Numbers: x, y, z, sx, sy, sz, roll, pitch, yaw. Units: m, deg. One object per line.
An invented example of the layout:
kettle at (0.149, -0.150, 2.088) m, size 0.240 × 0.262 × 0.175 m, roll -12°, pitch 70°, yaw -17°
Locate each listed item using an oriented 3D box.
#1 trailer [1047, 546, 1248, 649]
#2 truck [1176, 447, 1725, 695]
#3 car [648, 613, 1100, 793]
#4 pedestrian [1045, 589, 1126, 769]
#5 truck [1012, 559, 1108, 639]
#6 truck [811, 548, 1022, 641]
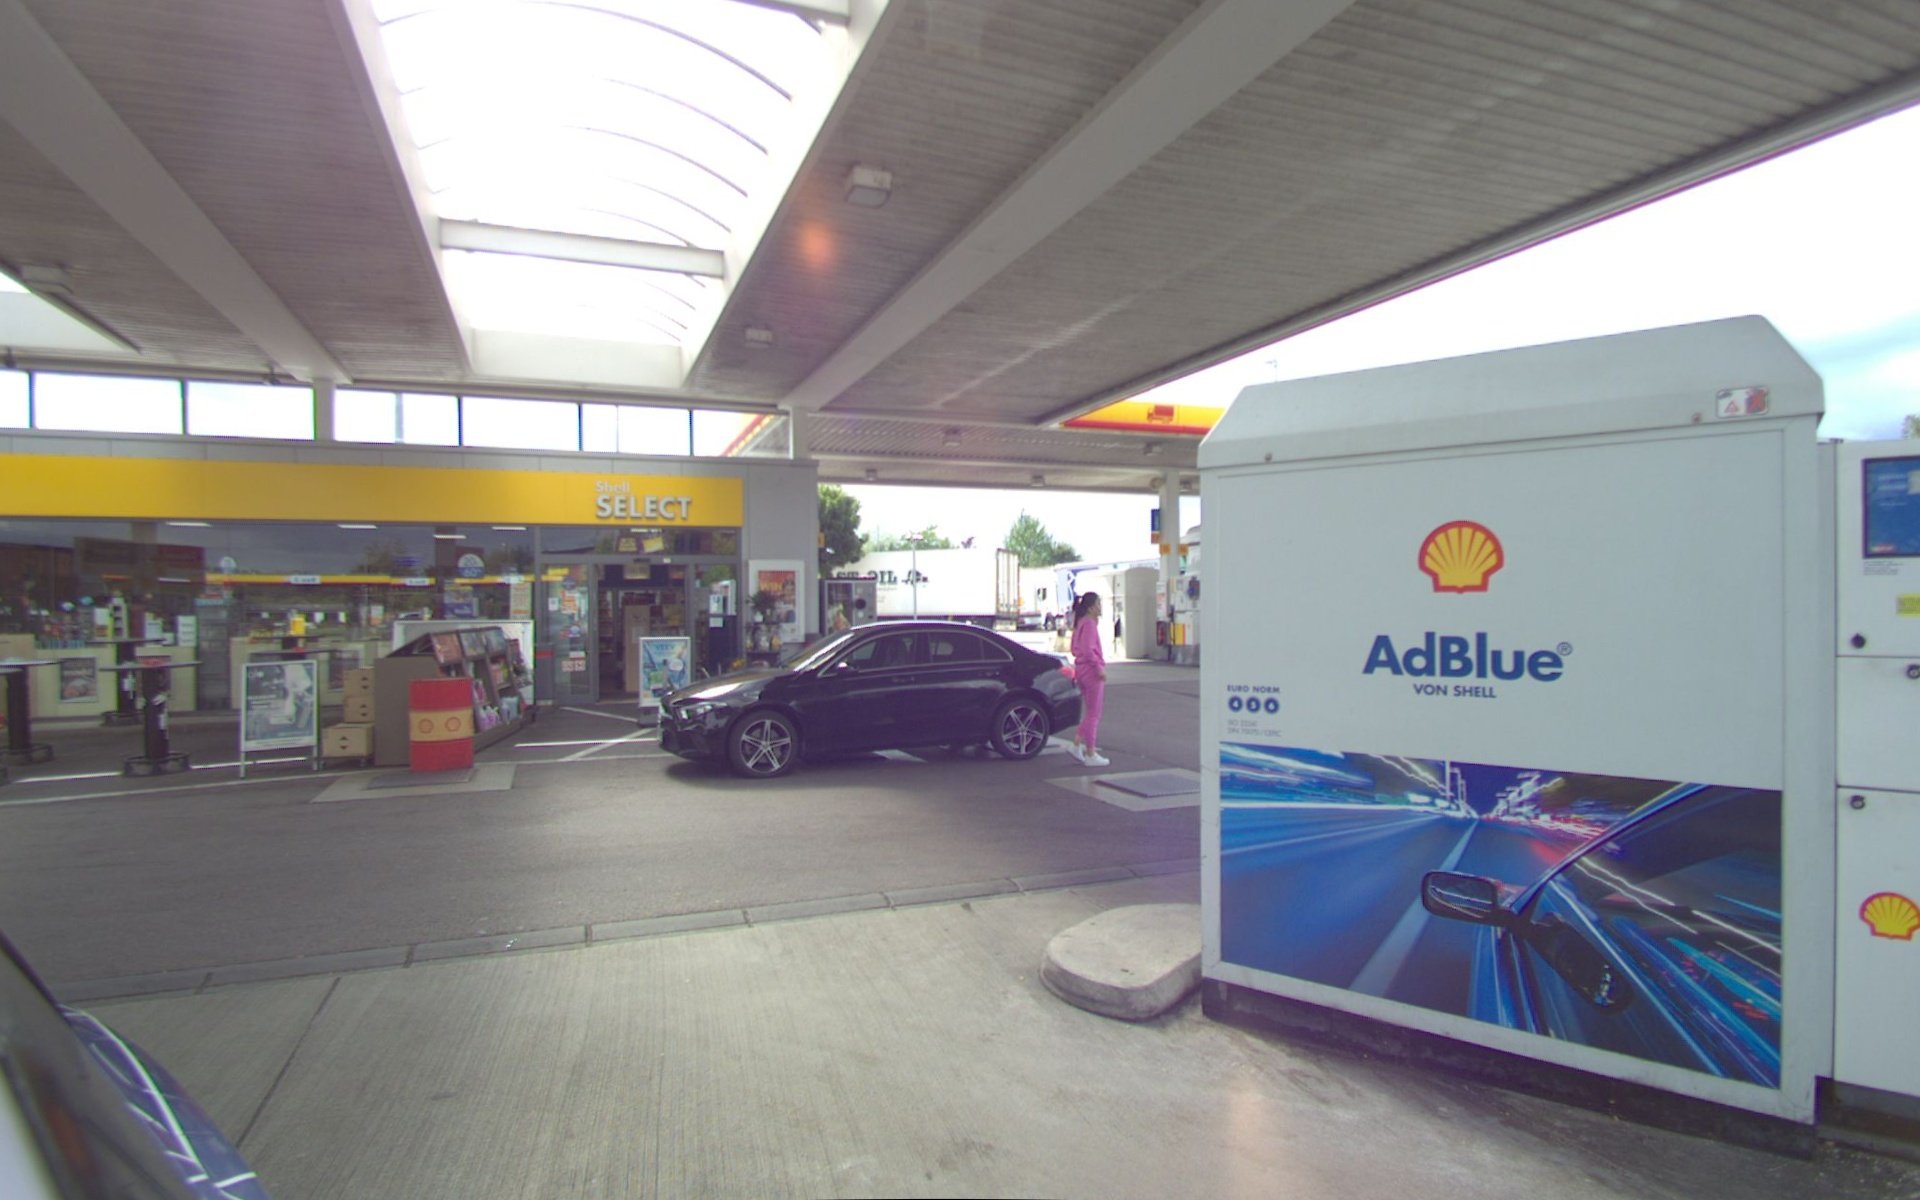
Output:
trailer at (9.121, -0.106, 52.657) m, size 3.294 × 4.600 × 14.397 m, roll -1°, pitch 0°, yaw -20°
truck at (9.671, -0.468, 23.086) m, size 2.491 × 4.069 × 12.947 m, roll -1°, pitch 0°, yaw -22°
car at (-0.910, 0.939, 10.664) m, size 4.394 × 1.511 × 1.785 m, roll -1°, pitch 0°, yaw -21°
pedestrian at (1.240, 0.762, 10.113) m, size 0.612 × 1.726 × 0.629 m, roll -1°, pitch 0°, yaw -11°
truck at (5.945, -0.057, 61.206) m, size 3.333 × 4.538 × 6.249 m, roll -1°, pitch 0°, yaw -20°
truck at (-2.087, -0.188, 46.824) m, size 9.536 × 4.036 × 2.772 m, roll -1°, pitch 0°, yaw 25°
